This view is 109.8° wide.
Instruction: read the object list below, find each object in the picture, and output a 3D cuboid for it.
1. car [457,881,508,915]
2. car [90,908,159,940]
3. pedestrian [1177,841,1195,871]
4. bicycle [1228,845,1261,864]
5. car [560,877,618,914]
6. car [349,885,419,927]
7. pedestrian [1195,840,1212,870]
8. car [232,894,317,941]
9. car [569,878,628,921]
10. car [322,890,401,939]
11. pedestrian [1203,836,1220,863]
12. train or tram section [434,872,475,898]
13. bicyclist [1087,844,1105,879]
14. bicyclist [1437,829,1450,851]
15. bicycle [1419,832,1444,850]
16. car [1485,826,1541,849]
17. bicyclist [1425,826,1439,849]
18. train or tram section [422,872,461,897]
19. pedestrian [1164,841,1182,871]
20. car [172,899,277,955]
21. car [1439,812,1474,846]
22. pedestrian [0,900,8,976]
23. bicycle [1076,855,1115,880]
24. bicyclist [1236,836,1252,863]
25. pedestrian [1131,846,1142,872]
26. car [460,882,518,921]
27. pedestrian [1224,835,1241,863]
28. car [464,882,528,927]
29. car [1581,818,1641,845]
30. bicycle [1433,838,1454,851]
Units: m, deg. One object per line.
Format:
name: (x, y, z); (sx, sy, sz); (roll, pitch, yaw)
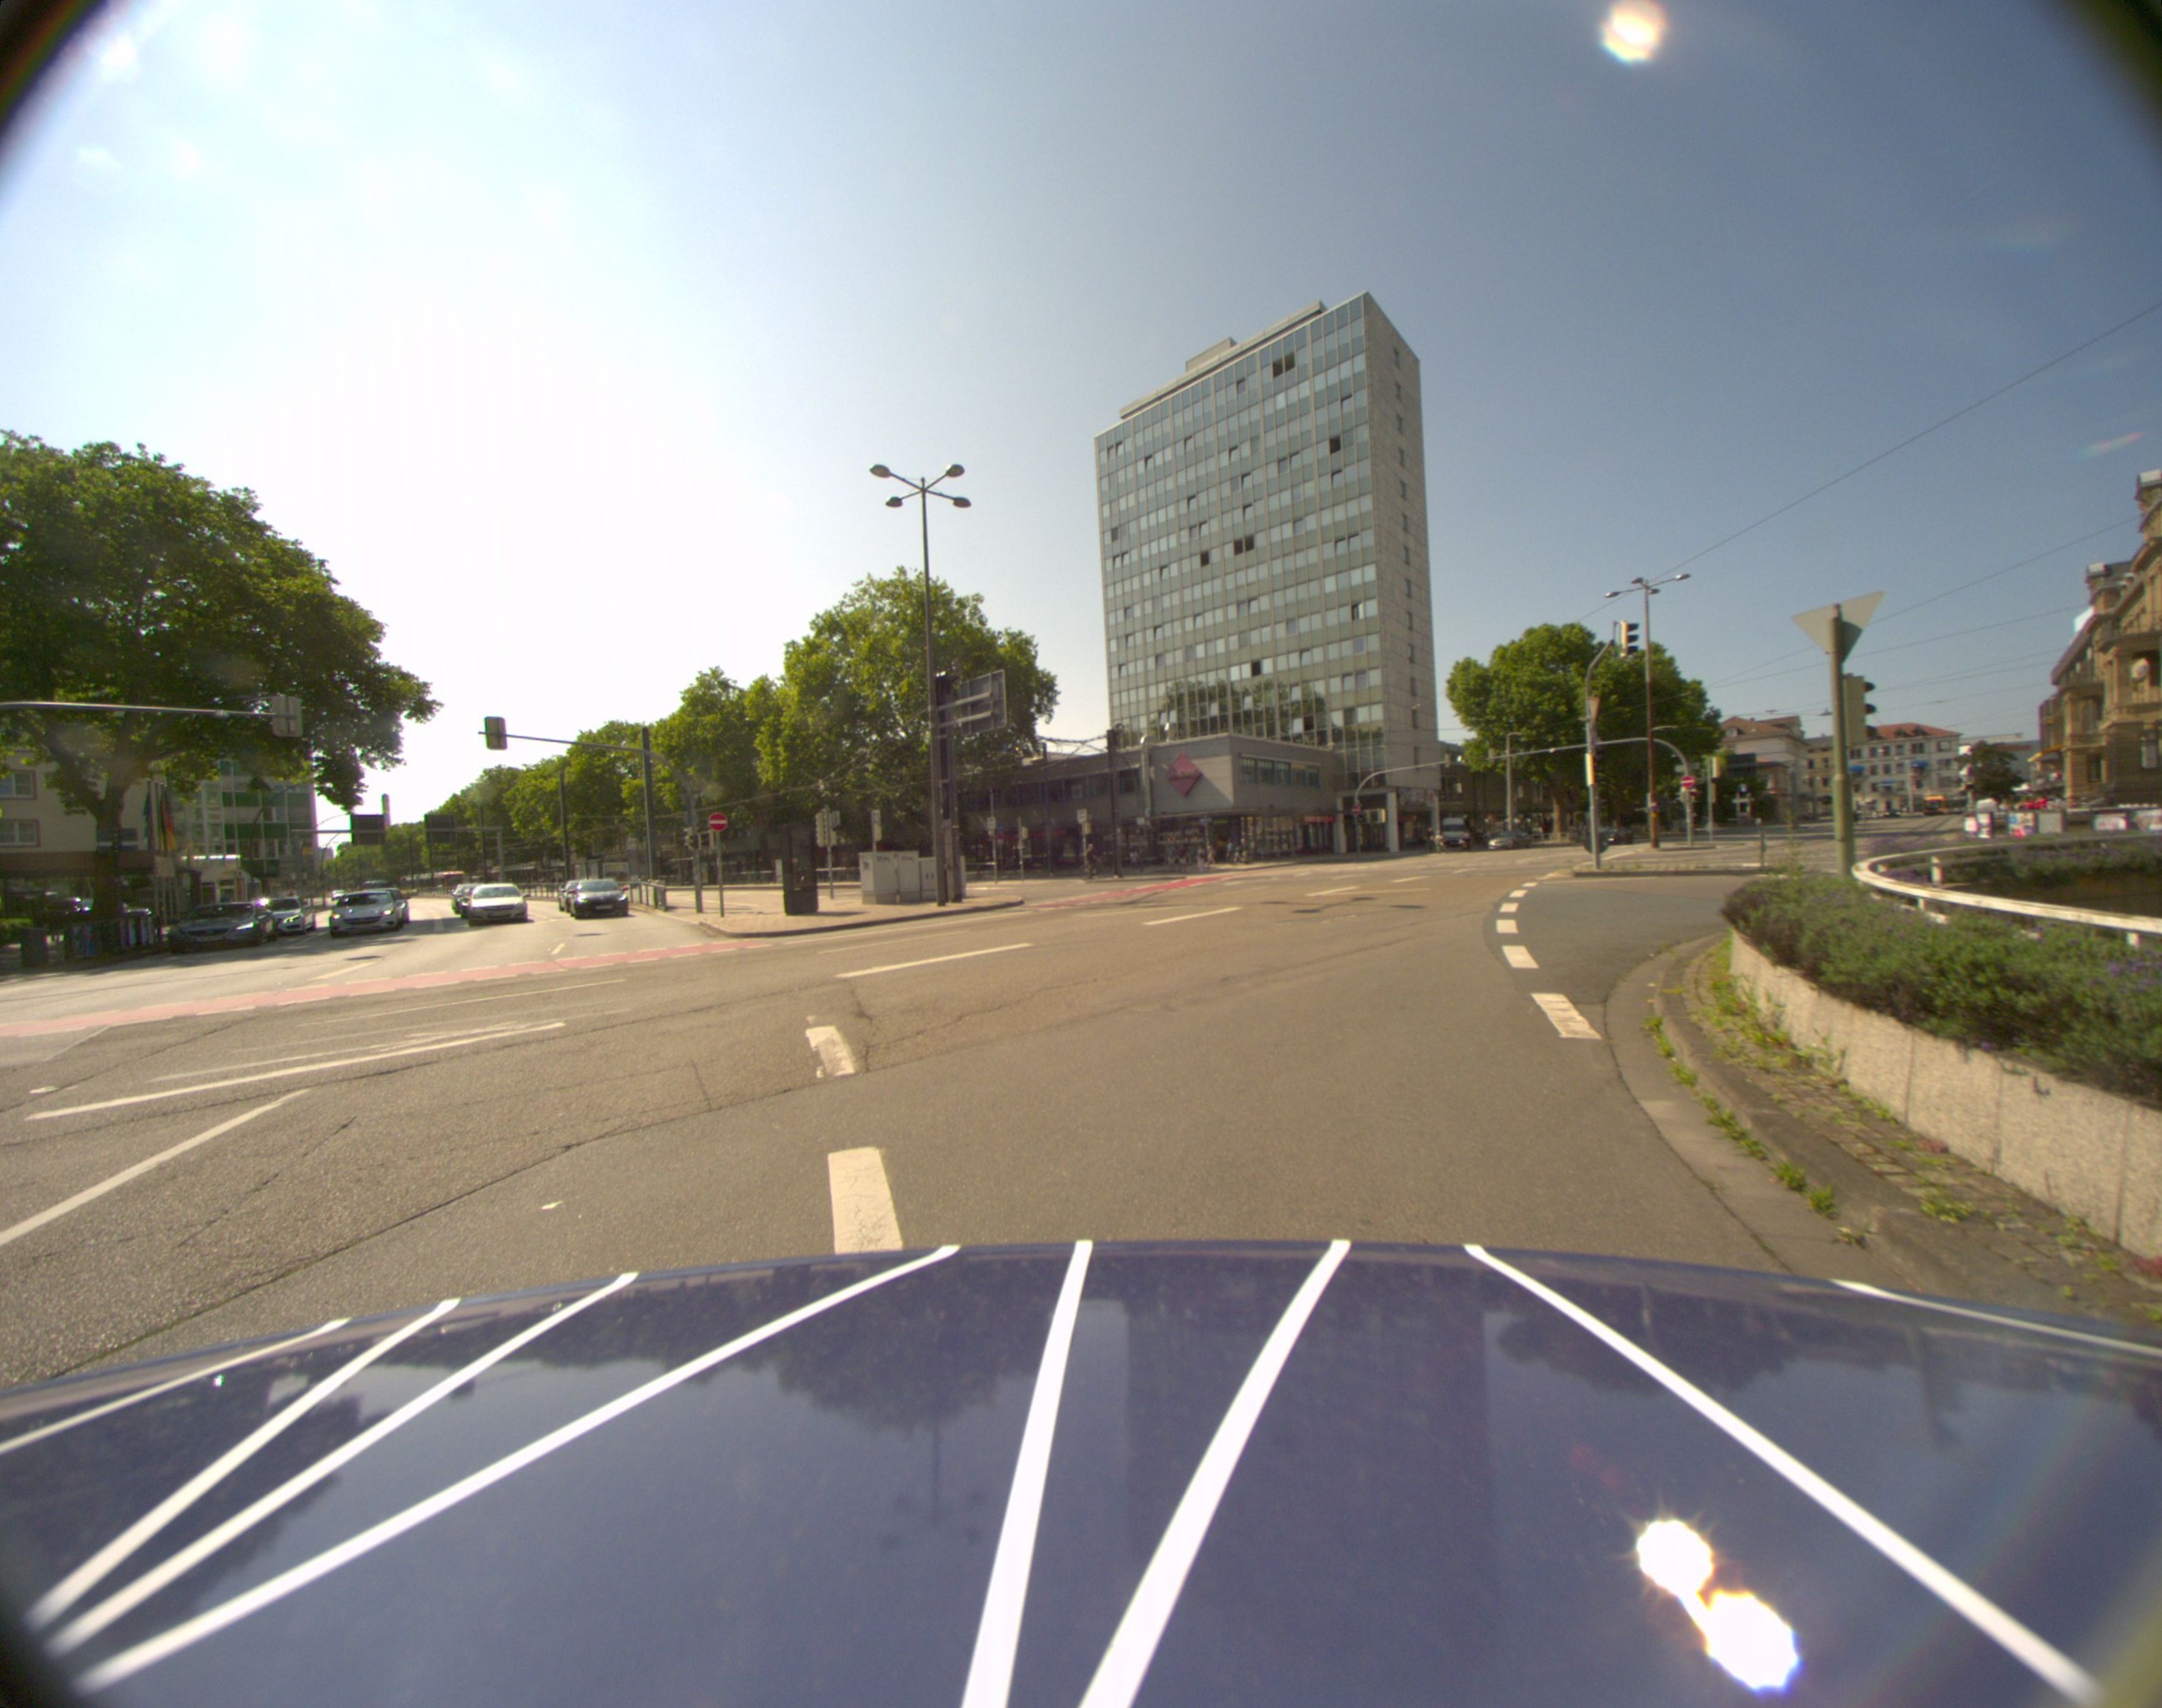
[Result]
car: (-30.351, 2.195, 38.622); (1.795, 1.514, 3.964); (-2, 0, -35)
car: (-48.173, 3.514, 38.349); (1.594, 1.315, 3.570); (-4, 1, -43)
pedestrian: (6.490, 0.107, 46.985); (0.669, 1.825, 0.825); (-1, 2, 41)
bicycle: (10.472, 0.012, 48.650); (1.970, 1.096, 0.576); (-3, 1, -18)
car: (-22.738, 1.878, 35.032); (1.795, 1.508, 3.963); (-2, 0, -39)
car: (-29.322, 2.154, 32.080); (1.795, 1.521, 3.963); (-2, 0, -37)
pedestrian: (7.565, 0.037, 46.997); (0.669, 1.825, 0.825); (-1, 2, 41)
car: (-30.639, 2.354, 28.968); (1.796, 1.516, 3.963); (-2, 0, -41)
car: (-18.783, 1.710, 29.689); (1.795, 1.443, 4.270); (-2, 0, -31)
car: (-25.114, 2.048, 26.648); (1.796, 1.443, 3.963); (-2, 0, -41)
pedestrian: (8.748, -0.318, 50.933); (0.824, 1.796, 0.670); (-3, 1, -22)
train or tram section: (-85.027, 4.214, 102.997); (8.713, 3.249, 2.740); (-3, 1, 41)
bicyclist: (0.735, 0.386, 37.663); (0.685, 1.697, 0.520); (-3, 2, -21)
bicyclist: (26.666, -1.028, 55.935); (0.685, 1.518, 0.581); (-4, 3, -37)
bicycle: (26.789, -1.009, 58.088); (1.942, 1.292, 0.714); (-4, 3, -31)
car: (31.363, -1.208, 55.168); (4.170, 1.452, 1.878); (-4, 1, -35)
bicyclist: (26.823, -1.241, 58.103); (0.685, 1.759, 0.695); (-4, 3, -31)
train or tram section: (-91.560, 4.402, 108.713); (8.713, 3.249, 2.740); (-3, 1, 41)
pedestrian: (5.773, 0.116, 47.669); (0.733, 1.825, 0.825); (-1, 2, 41)
car: (-27.020, 2.243, 24.093); (1.796, 1.443, 3.963); (-2, 0, -43)
car: (34.430, -2.288, 69.551); (1.743, 2.899, 4.644); (-2, 1, 40)
pedestrian: (-26.154, 2.031, 17.947); (0.727, 1.795, 0.651); (-4, 1, -42)
bicycle: (0.738, 0.662, 37.667); (1.818, 1.160, 0.520); (-3, 1, -21)
bicyclist: (10.422, -0.277, 48.630); (0.684, 1.677, 0.583); (-4, 1, -18)
pedestrian: (3.615, 0.337, 49.487); (0.599, 1.629, 0.566); (-2, 1, 7)
car: (-26.590, 2.099, 34.223); (1.795, 1.514, 3.964); (-2, 0, -35)
pedestrian: (9.880, -0.314, 49.668); (0.824, 1.825, 0.670); (-3, 1, -17)
car: (-21.888, 1.840, 28.437); (1.723, 1.491, 4.479); (-2, -1, -38)
car: (34.791, -1.478, 49.824); (4.085, 1.525, 1.878); (-4, 1, -35)
bicycle: (26.693, -0.698, 55.959); (1.814, 0.878, 0.591); (-4, 3, -37)
